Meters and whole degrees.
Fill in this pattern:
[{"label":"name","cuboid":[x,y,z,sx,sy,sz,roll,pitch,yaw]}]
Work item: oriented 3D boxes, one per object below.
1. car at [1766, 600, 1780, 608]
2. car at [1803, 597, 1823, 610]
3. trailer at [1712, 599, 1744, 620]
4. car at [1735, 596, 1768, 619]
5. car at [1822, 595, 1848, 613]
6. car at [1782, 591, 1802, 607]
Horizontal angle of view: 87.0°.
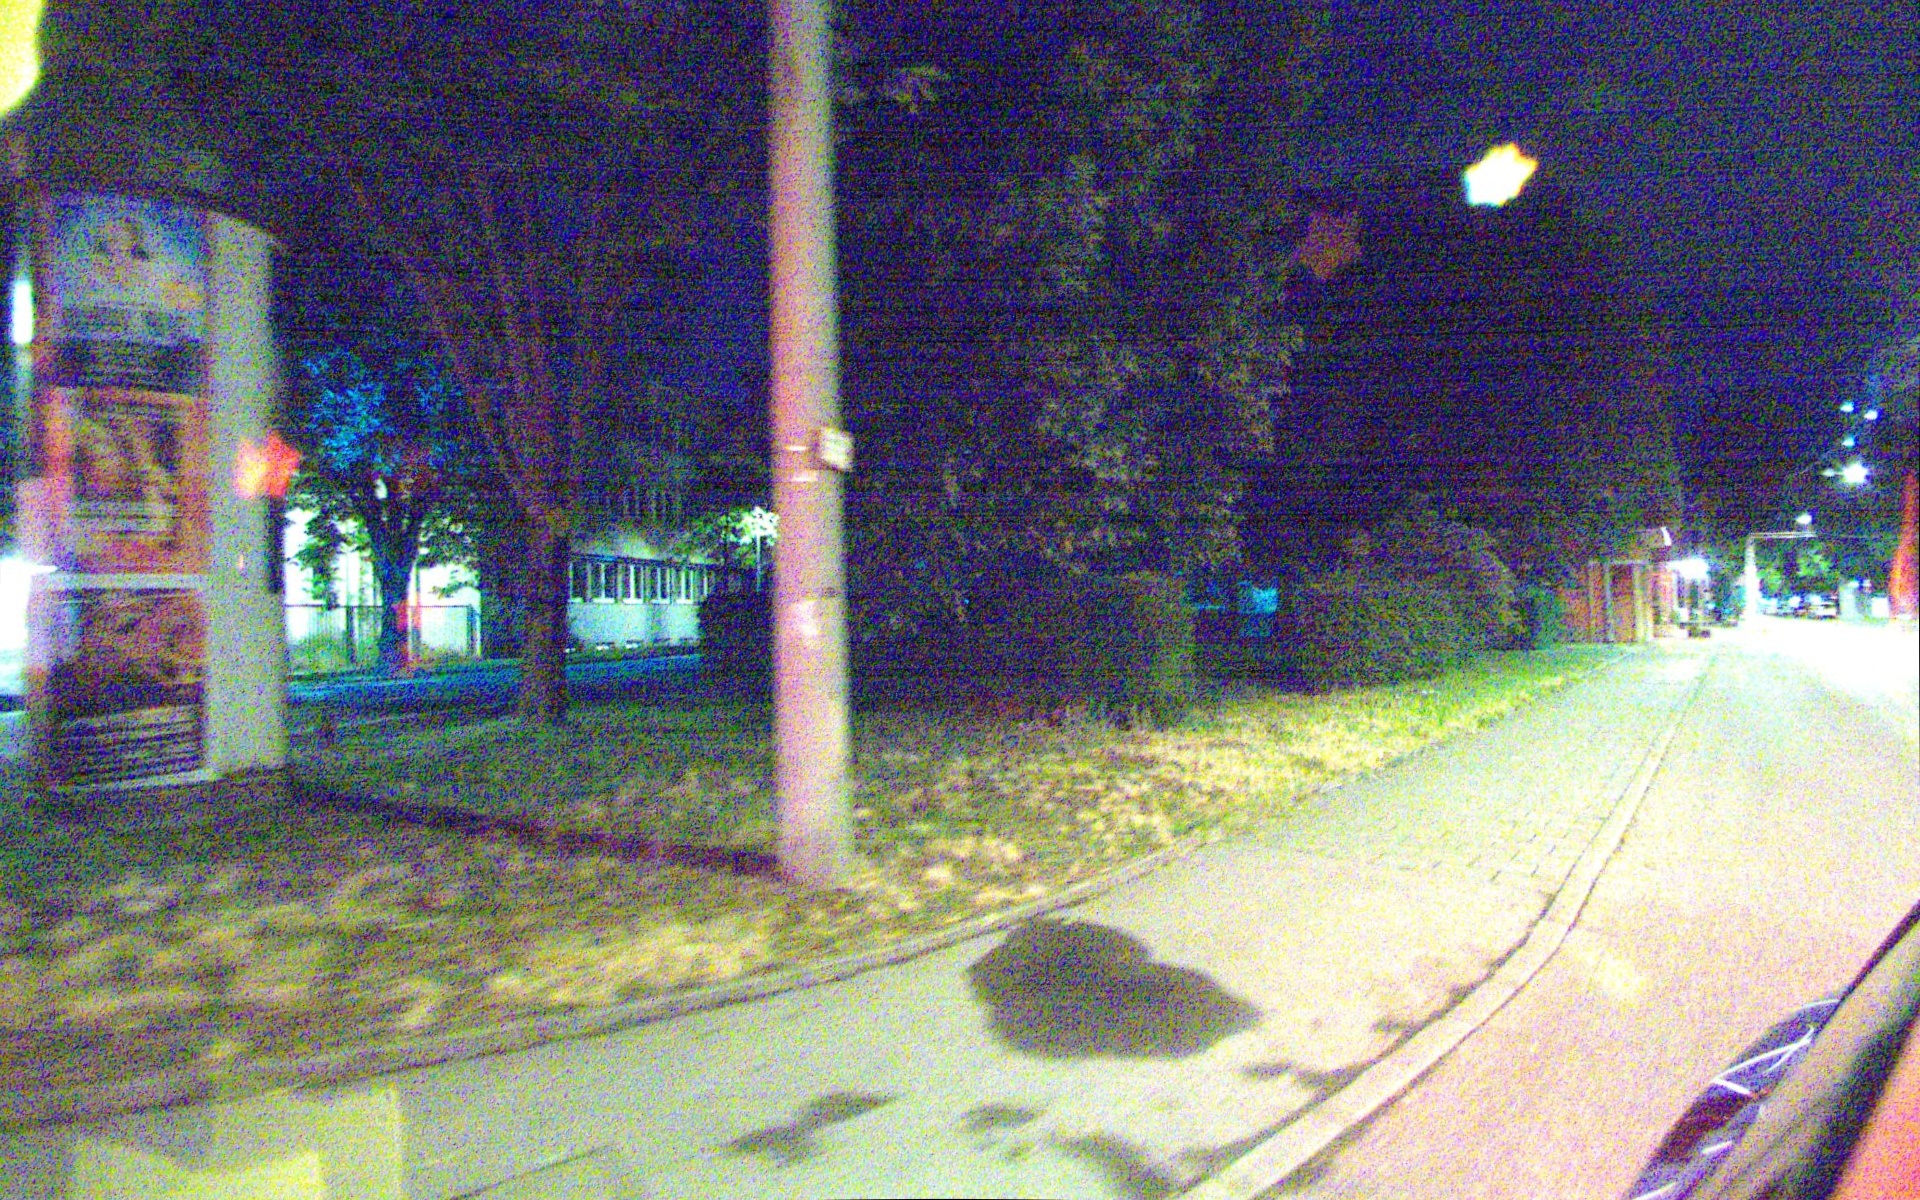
[{"label":"car","cuboid":[152.820,0.709,190.192,1.815,1.451,3.683,-5,-3,36]},{"label":"car","cuboid":[111.270,0.506,132.033,1.818,1.668,3.679,-1,0,39]},{"label":"trailer","cuboid":[58.116,0.716,76.547,1.599,1.514,3.677,-3,-2,41]},{"label":"car","cuboid":[53.788,0.536,68.761,1.584,1.480,3.742,-3,-2,40]},{"label":"car","cuboid":[94.939,0.403,109.810,1.874,1.832,3.679,-5,-3,39]},{"label":"car","cuboid":[137.723,-0.112,167.580,1.993,2.540,4.890,-5,-3,36]}]
